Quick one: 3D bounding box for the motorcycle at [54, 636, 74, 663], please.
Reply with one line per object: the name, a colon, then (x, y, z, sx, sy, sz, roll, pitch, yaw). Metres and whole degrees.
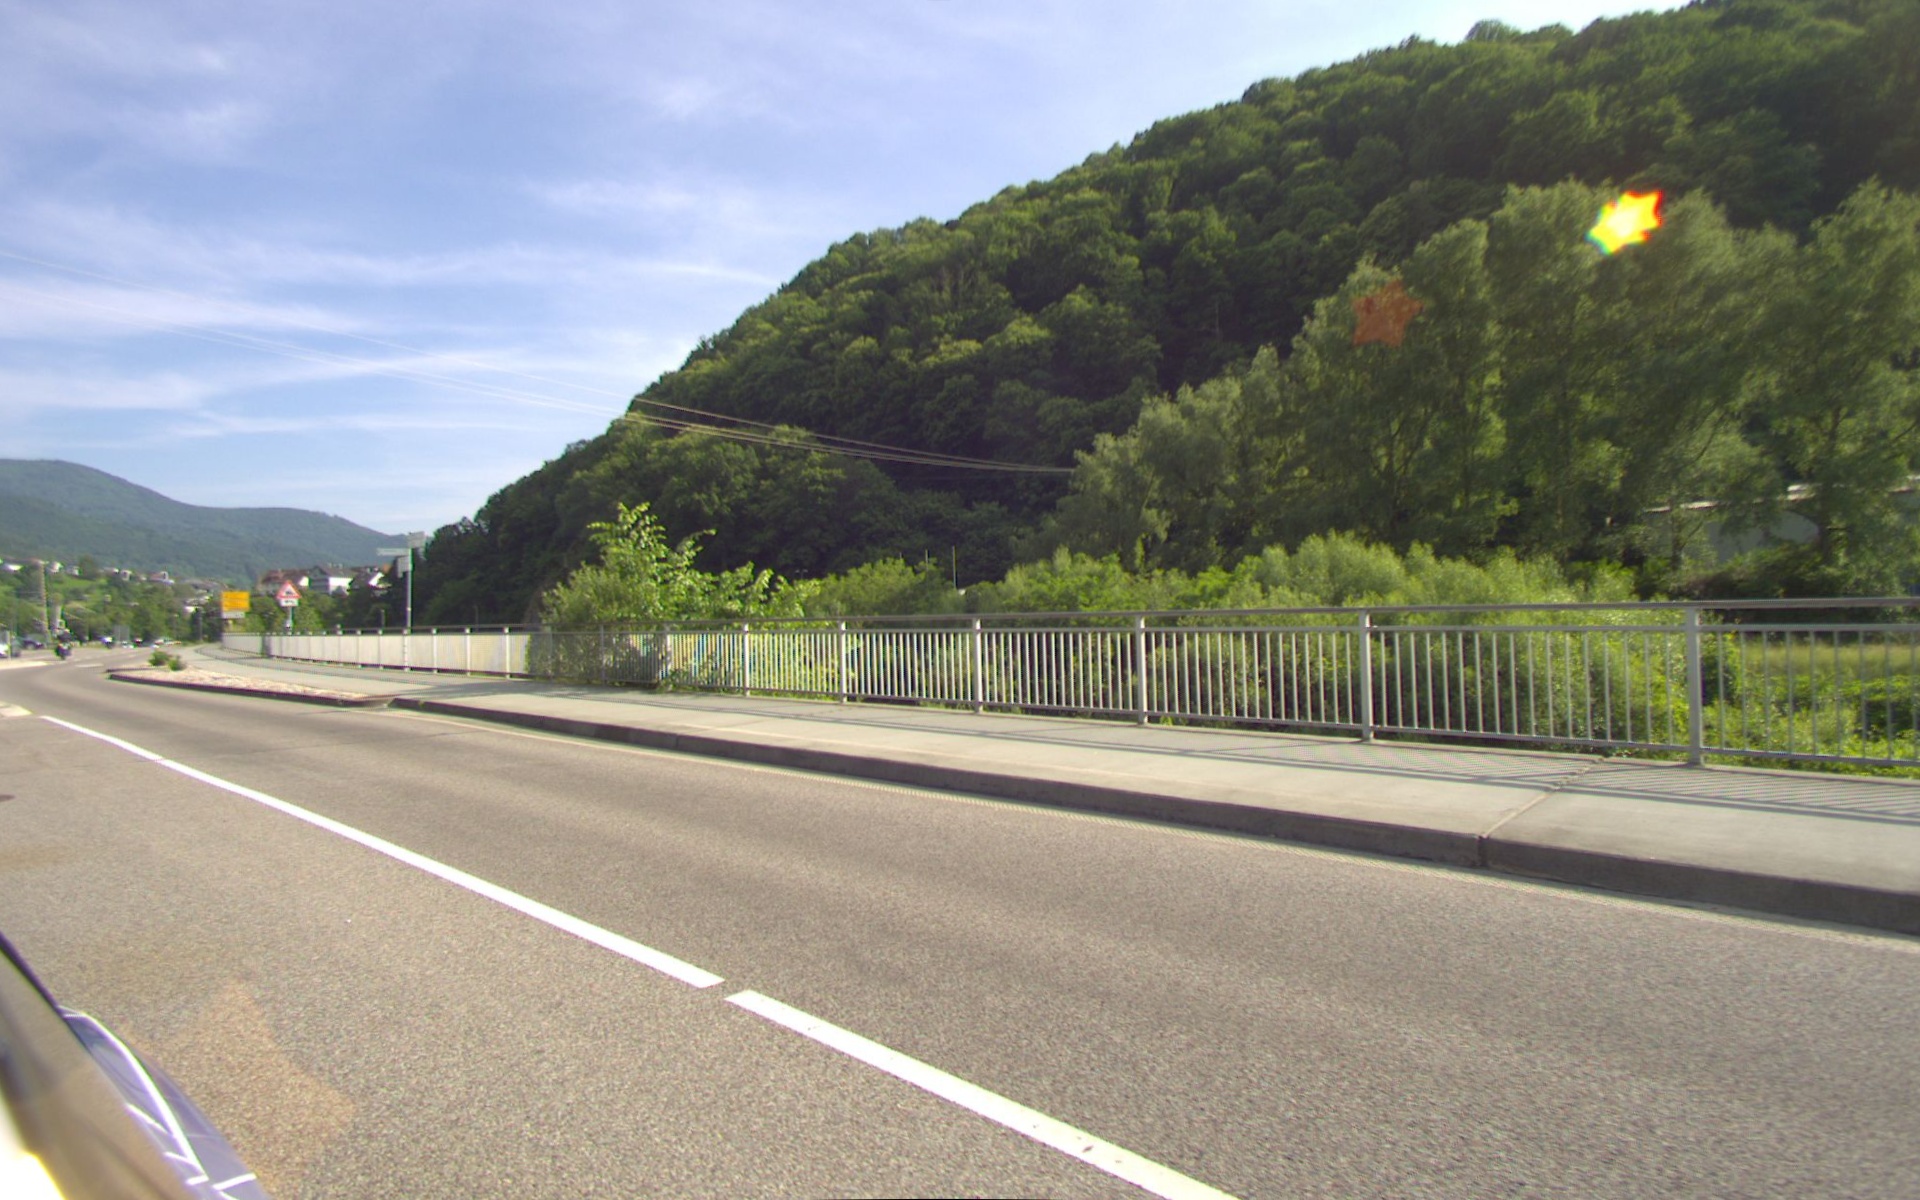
motorcycle: (-48.762, 2.666, 55.079, 0.763, 1.433, 2.321, 1, -3, -42)

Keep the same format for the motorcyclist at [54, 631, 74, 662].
motorcyclist: (-48.825, 2.538, 55.148, 0.753, 1.691, 0.728, 1, -2, -41)
